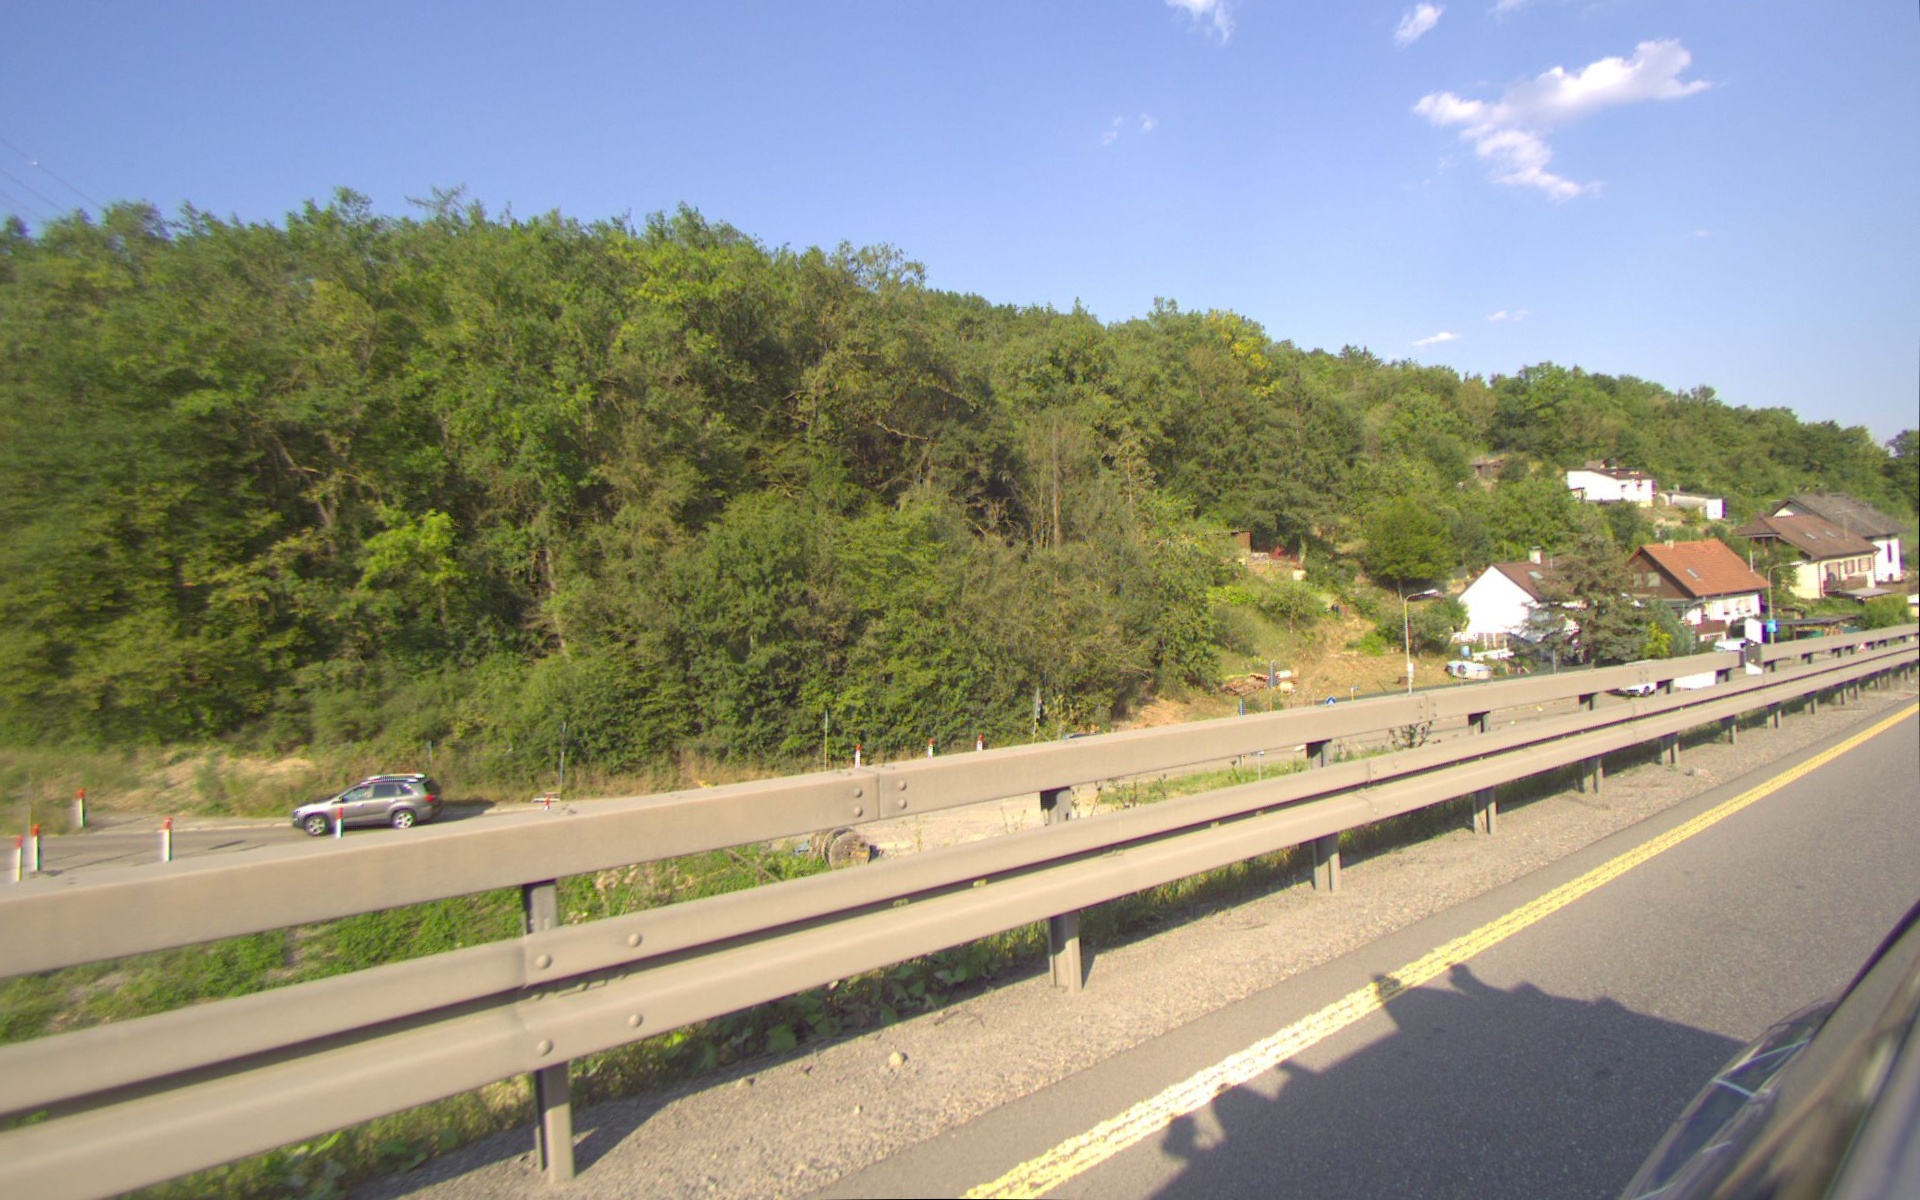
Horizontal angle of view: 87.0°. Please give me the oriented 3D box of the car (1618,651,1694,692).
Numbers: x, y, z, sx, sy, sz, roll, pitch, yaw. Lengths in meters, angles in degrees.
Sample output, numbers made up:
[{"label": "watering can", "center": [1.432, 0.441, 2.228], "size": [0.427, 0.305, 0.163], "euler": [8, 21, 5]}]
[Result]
[{"label": "car", "center": [44.163, 4.524, 64.201], "size": [4.951, 2.010, 1.871], "euler": [-4, 3, -28]}]

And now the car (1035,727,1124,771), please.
[{"label": "car", "center": [5.372, 6.674, 45.500], "size": [3.541, 1.619, 1.776], "euler": [0, -3, -21]}]

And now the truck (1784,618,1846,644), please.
[{"label": "truck", "center": [69.240, 2.501, 82.031], "size": [1.969, 1.760, 3.985], "euler": [-7, -2, 12]}]

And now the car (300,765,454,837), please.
[{"label": "car", "center": [-20.214, 6.946, 35.295], "size": [4.404, 1.807, 1.872], "euler": [-1, 0, -20]}]

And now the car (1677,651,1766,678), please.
[{"label": "car", "center": [57.310, 4.812, 76.276], "size": [1.681, 1.576, 5.113], "euler": [-3, 1, -28]}]

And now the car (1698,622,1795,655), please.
[{"label": "car", "center": [60.303, 2.917, 77.723], "size": [1.960, 2.292, 5.491], "euler": [-3, 1, -28]}]
